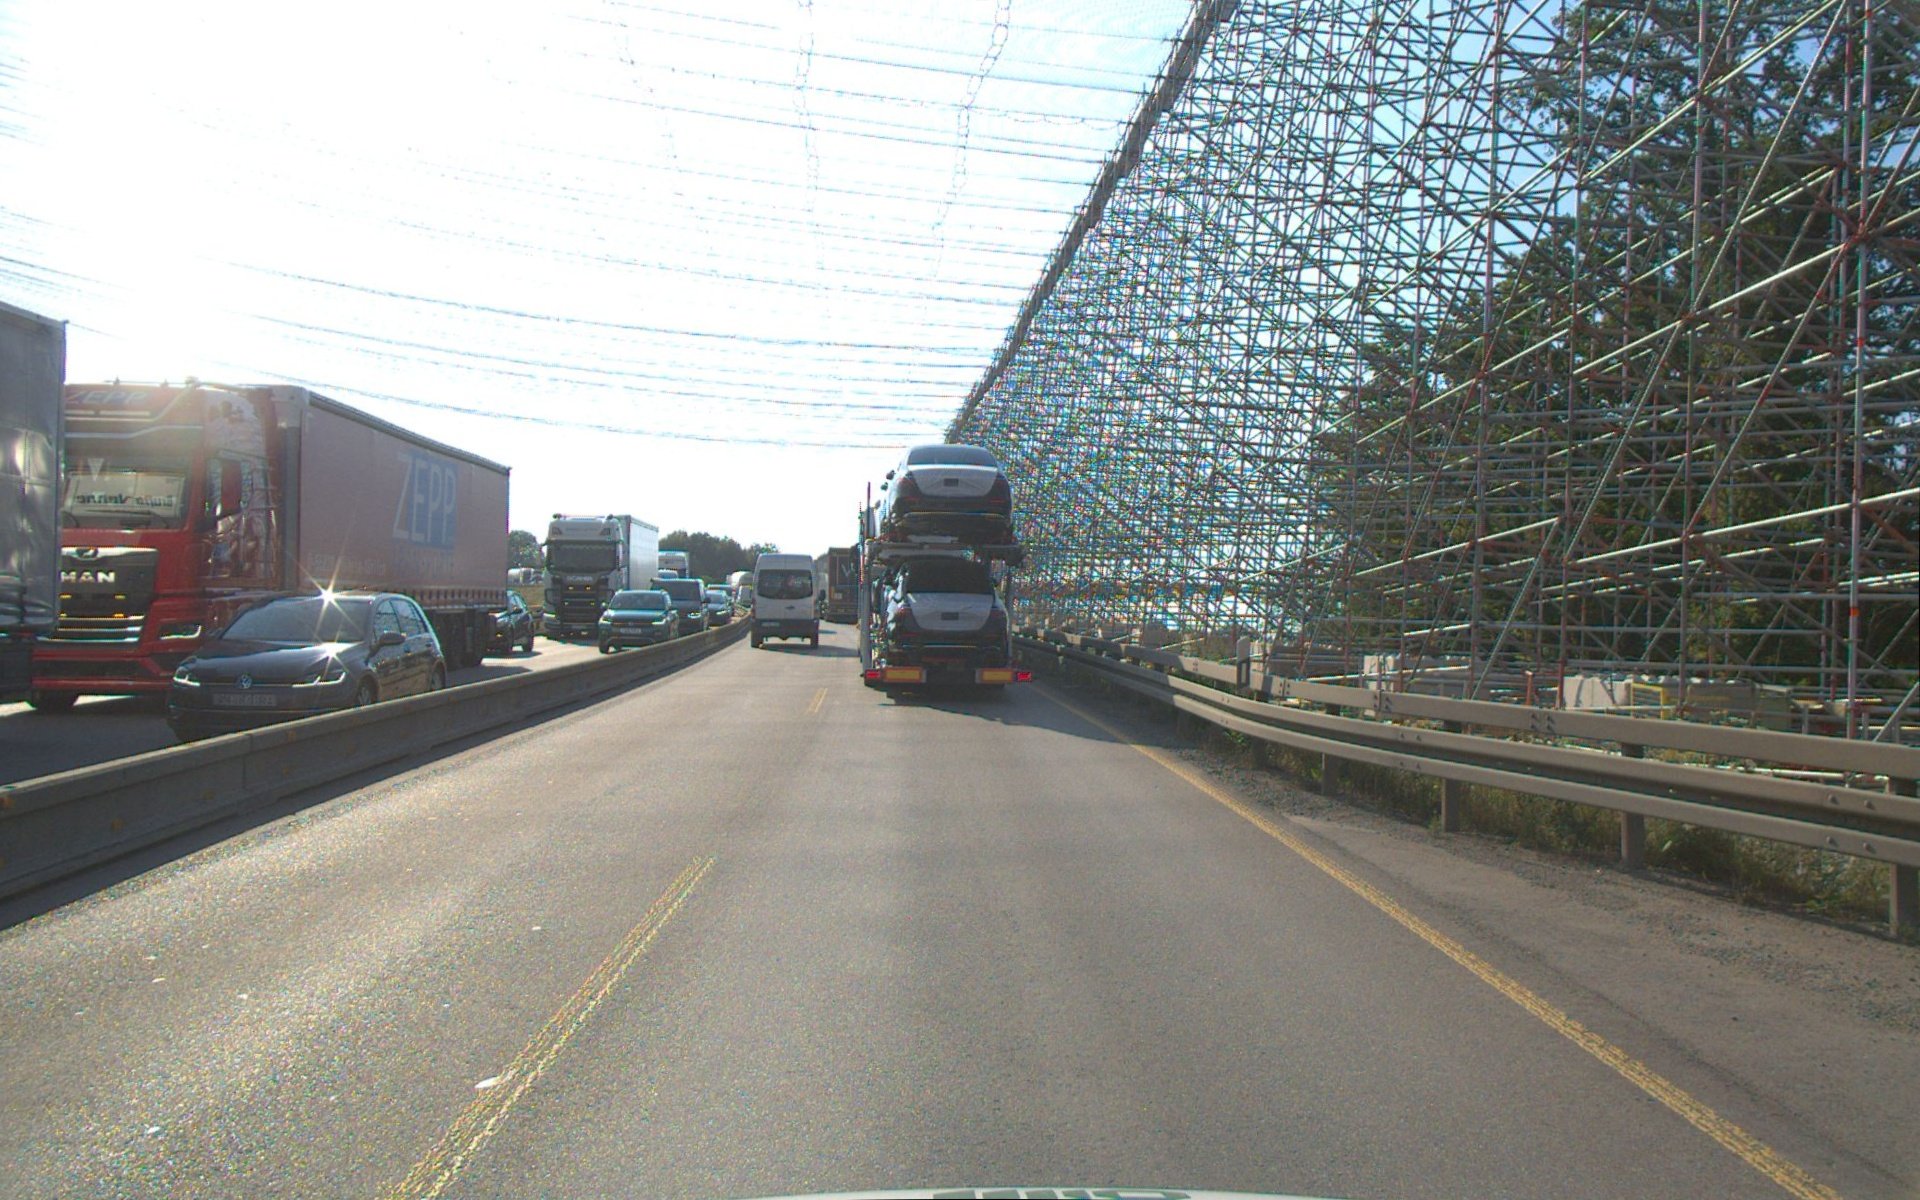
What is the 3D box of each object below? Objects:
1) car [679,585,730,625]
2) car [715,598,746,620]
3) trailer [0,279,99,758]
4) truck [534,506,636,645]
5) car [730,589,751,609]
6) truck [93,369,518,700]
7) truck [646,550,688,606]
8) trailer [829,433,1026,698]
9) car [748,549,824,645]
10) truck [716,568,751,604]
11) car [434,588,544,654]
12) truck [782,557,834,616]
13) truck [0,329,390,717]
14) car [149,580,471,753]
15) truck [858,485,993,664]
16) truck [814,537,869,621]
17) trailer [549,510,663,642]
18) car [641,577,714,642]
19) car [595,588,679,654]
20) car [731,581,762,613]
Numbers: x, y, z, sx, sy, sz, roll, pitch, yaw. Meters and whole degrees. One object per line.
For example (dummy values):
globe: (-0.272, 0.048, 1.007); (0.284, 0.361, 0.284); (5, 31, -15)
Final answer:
car: (-10.524, 0.202, 68.454); (1.750, 1.528, 4.749); (2, 0, -5)
car: (-16.290, 0.615, 117.096); (1.805, 1.479, 3.987); (2, 0, -13)
trailer: (-9.689, -0.762, 9.238); (2.742, 4.214, 13.961); (1, 0, -2)
truck: (-12.279, -0.753, 54.581); (2.612, 4.304, 6.095); (1, 0, -7)
car: (-18.294, -0.064, 137.606); (1.678, 1.646, 3.497); (1, 0, -8)
truck: (-10.224, -0.793, 28.125); (2.733, 4.214, 13.794); (1, 0, -5)
truck: (-20.163, -1.478, 113.611); (2.548, 3.534, 12.361); (2, 0, -10)
trailer: (-0.649, -0.454, 31.386); (2.811, 3.790, 14.942); (1, 0, -1)
car: (-5.105, -0.059, 48.105); (1.921, 2.667, 3.989); (0, -1, -11)
truck: (-25.066, -1.532, 182.540); (2.573, 3.788, 9.620); (2, 0, -15)
car: (-11.390, 0.478, 40.217); (1.687, 1.473, 4.135); (2, 0, -4)
truck: (-11.963, -1.033, 131.242); (3.614, 4.294, 13.657); (-2, 0, -4)
truck: (-9.704, -0.819, 21.415); (2.733, 4.214, 6.672); (1, 0, -5)
car: (-6.472, 0.598, 17.014); (1.617, 1.489, 4.399); (2, 0, -1)
truck: (-0.840, -0.513, 38.866); (2.824, 3.767, 7.322); (1, 0, -2)
truck: (-6.875, -1.157, 94.702); (2.679, 4.462, 11.507); (2, 0, -6)
trailer: (-12.990, -0.830, 61.799); (2.602, 4.307, 13.901); (2, 0, -6)
car: (-9.137, 0.289, 53.809); (1.838, 1.969, 4.857); (2, 0, -5)
car: (-8.292, 0.509, 42.760); (1.709, 1.561, 4.262); (2, 0, -6)
car: (-13.705, -0.190, 106.229); (1.801, 1.926, 3.995); (2, 0, -5)
